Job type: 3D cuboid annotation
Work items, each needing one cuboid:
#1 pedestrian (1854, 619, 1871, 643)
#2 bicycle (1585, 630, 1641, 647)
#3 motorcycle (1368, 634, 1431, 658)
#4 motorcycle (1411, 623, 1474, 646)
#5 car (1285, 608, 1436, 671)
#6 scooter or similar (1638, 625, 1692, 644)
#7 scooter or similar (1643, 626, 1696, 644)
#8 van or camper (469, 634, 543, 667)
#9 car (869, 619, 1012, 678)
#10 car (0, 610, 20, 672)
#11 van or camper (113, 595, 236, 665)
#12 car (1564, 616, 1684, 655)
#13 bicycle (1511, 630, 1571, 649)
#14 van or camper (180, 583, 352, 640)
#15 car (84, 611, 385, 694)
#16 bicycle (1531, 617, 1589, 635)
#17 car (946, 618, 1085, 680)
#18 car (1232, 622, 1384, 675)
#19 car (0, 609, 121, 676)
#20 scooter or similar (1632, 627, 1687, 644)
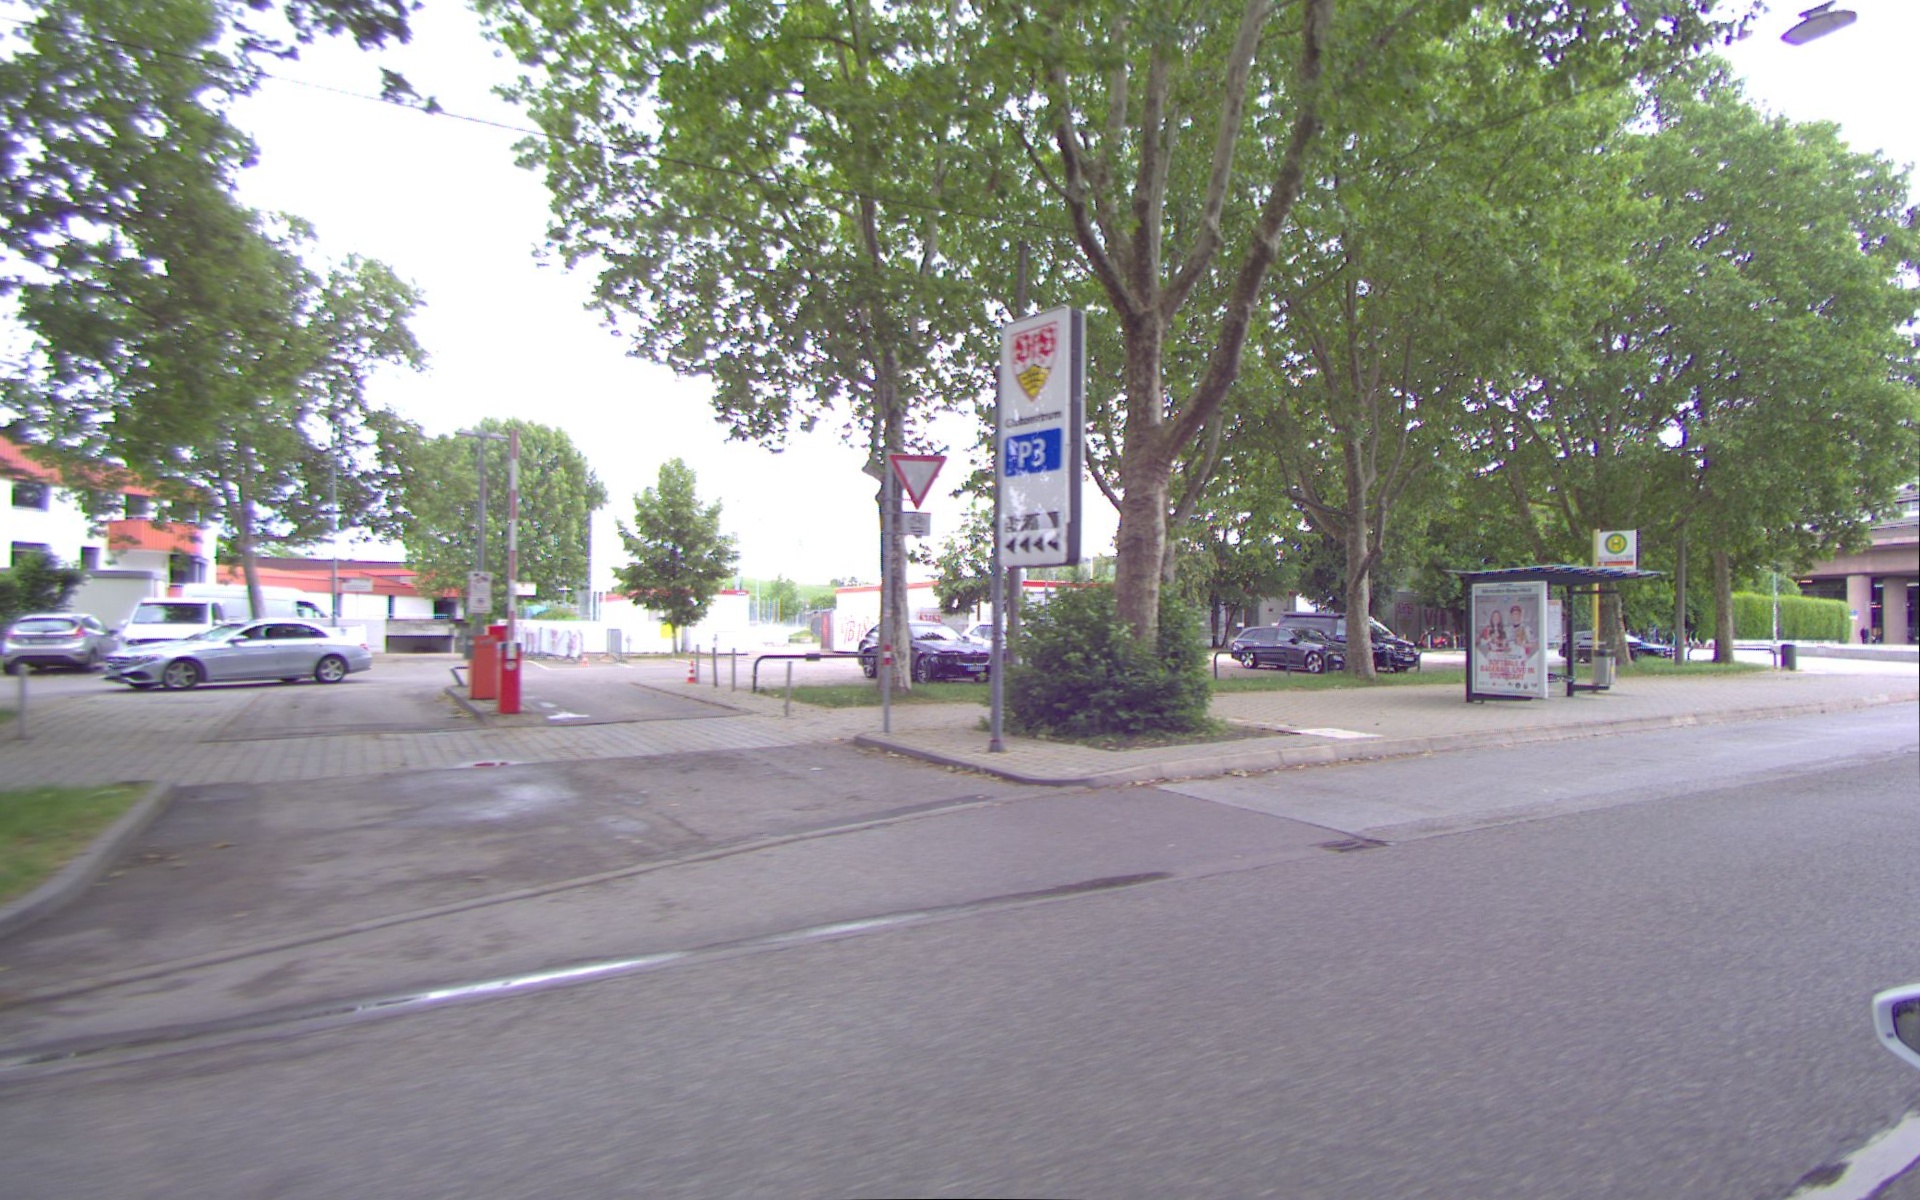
[{"bbox_3d":[76.385,2.613,85.024,0.594,2.040,1.033,2,-1,-42],"label":"pedestrian"},{"bbox_3d":[44.985,2.655,69.232,3.148,1.112,0.768,0,-1,44],"label":"bicycle"},{"bbox_3d":[24.424,2.537,55.935,0.762,1.238,3.651,1,-1,-24],"label":"motorcycle"},{"bbox_3d":[27.781,1.977,57.877,0.762,1.238,3.651,1,-1,-24],"label":"motorcycle"},{"bbox_3d":[13.889,1.323,35.115,2.234,2.052,4.598,1,-1,-28],"label":"car"},{"bbox_3d":[51.445,2.501,73.282,3.148,1.266,0.768,0,-1,44],"label":"scooter or similar"},{"bbox_3d":[53.130,2.615,75.221,3.148,1.266,0.768,0,-1,44],"label":"scooter or similar"},{"bbox_3d":[-29.122,3.222,64.504,4.133,2.040,1.984,2,-1,-31],"label":"van or camper"},{"bbox_3d":[-0.592,1.200,25.895,1.979,1.341,3.967,2,-1,-31],"label":"car"},{"bbox_3d":[-25.184,1.027,24.829,1.937,1.569,4.298,2,-1,-31],"label":"car"},{"bbox_3d":[-21.281,0.787,27.404,2.108,1.732,4.298,2,-1,-31],"label":"van or camper"},{"bbox_3d":[29.271,1.552,44.377,2.214,1.626,3.955,2,-2,-39],"label":"car"},{"bbox_3d":[36.263,2.442,62.698,0.768,1.112,3.149,2,-1,-45],"label":"bicycle"},{"bbox_3d":[-26.352,0.484,38.425,5.244,2.040,1.983,2,-1,-32],"label":"van or camper"},{"bbox_3d":[-15.762,1.085,22.161,2.062,1.572,4.970,0,-1,29],"label":"car"},{"bbox_3d":[39.211,1.706,65.665,0.768,1.112,3.149,2,-1,-45],"label":"bicycle"},{"bbox_3d":[1.455,1.311,27.748,1.978,1.543,3.968,2,-1,-30],"label":"car"},{"bbox_3d":[11.467,1.571,33.443,2.083,1.588,4.607,2,-2,-28],"label":"car"},{"bbox_3d":[-23.113,1.030,25.807,1.770,1.569,4.195,2,-1,-32],"label":"car"},{"bbox_3d":[50.014,2.519,71.801,3.148,1.112,0.768,0,-1,44],"label":"scooter or similar"}]
